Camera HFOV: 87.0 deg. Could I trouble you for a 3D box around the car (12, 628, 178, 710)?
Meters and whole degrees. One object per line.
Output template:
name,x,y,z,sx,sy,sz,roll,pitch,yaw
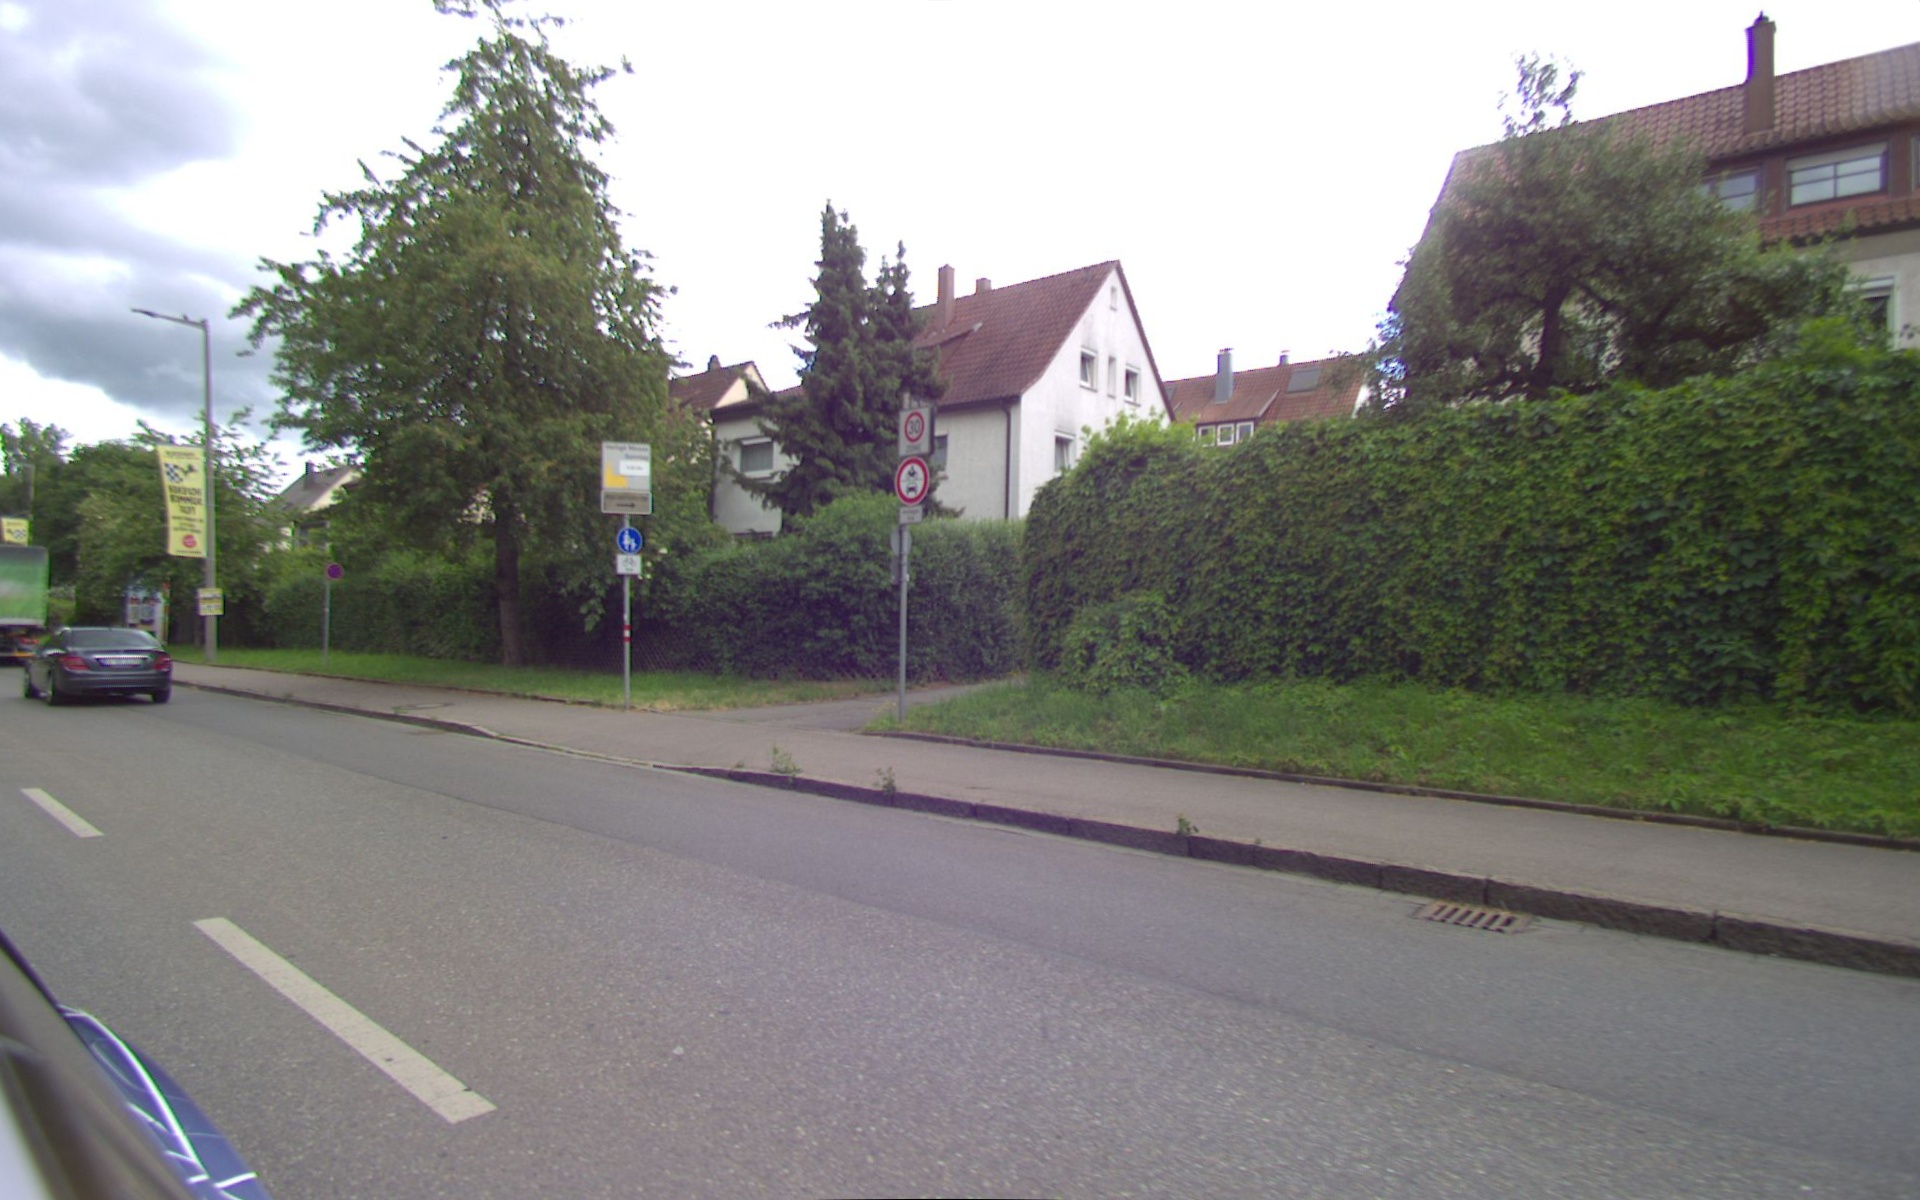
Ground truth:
car,-16.577,1.256,19.330,4.236,1.385,1.715,-1,-3,40

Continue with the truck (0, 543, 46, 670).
truck,-35.228,0.220,35.937,10.612,4.074,2.524,0,-3,40
